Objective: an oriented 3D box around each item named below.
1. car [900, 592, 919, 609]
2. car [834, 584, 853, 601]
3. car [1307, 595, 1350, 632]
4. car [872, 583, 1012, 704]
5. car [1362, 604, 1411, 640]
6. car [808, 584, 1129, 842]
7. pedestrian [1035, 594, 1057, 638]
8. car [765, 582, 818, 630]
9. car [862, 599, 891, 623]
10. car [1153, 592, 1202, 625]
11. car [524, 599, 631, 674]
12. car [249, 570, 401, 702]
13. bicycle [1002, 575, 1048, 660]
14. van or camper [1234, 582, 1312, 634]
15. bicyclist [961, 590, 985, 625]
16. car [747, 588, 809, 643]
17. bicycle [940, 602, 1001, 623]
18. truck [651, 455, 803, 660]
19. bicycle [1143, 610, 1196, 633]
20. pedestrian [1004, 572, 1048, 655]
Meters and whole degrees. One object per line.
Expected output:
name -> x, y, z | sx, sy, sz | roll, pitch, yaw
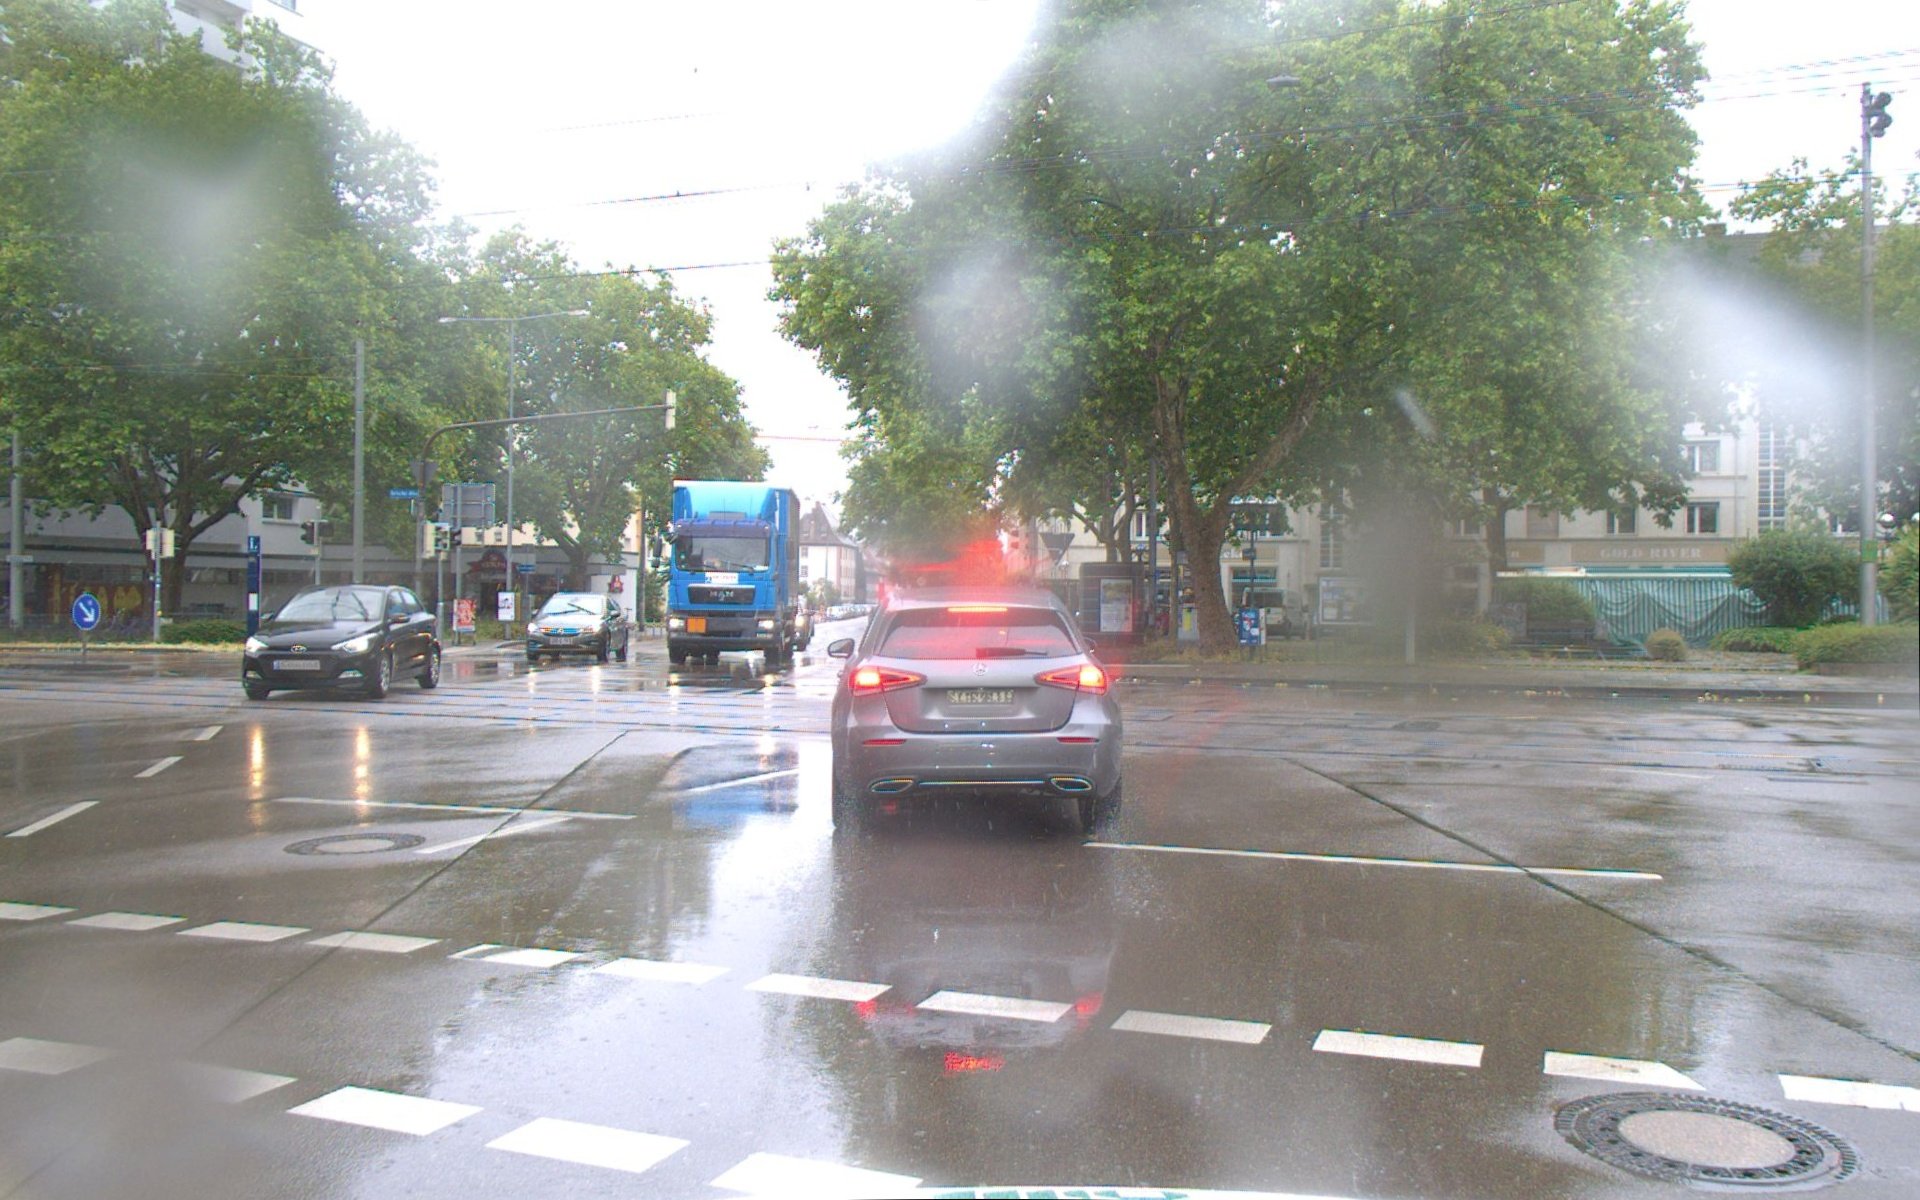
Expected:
car -> -5.597, 0.079, 184.339 | 2.004, 1.868, 4.791 | 0, 0, 0
car -> -13.459, -0.883, 191.384 | 1.851, 1.868, 4.000 | 0, 0, 0
car -> 16.378, 0.614, 73.403 | 1.644, 1.603, 3.738 | 0, -1, 16
car -> -0.317, 0.503, 21.418 | 1.575, 1.396, 3.997 | -1, 0, -4
car -> 18.928, 0.998, 73.381 | 1.645, 1.457, 3.735 | 0, -3, 22
car -> -0.062, 0.631, 10.954 | 1.756, 1.396, 3.504 | 2, 0, -4
pedestrian -> 3.370, 0.636, 64.620 | 0.704, 1.698, 0.663 | 0, -1, -13
car -> -6.584, 0.216, 64.818 | 1.712, 1.796, 3.999 | 0, 0, -1
car -> -5.910, 0.772, 116.616 | 1.954, 1.601, 3.996 | 0, 0, -5
car -> 9.950, 0.403, 75.636 | 1.549, 1.360, 3.262 | 0, -3, 20
car -> -8.522, 0.772, 37.187 | 1.692, 1.573, 4.336 | 0, 0, -4
car -> -8.395, 0.431, 21.890 | 1.719, 1.573, 3.754 | 0, 0, -21
bicycle -> 1.149, 0.279, 28.785 | 0.733, 1.401, 2.708 | -1, 0, 3
van or camper -> 14.162, 0.363, 74.543 | 2.348, 2.270, 5.427 | 0, 0, 24
bicyclist -> 0.712, 0.409, 89.895 | 0.925, 1.901, 1.135 | 0, -2, -22
car -> -5.607, 0.476, 51.397 | 1.708, 1.632, 3.997 | 0, 0, -3
bicycle -> 0.594, 0.679, 89.880 | 3.162, 1.131, 1.047 | 0, -2, -23
truck -> -5.176, -0.862, 38.426 | 2.790, 4.096, 10.307 | 0, 0, -4
bicycle -> 8.977, 0.906, 70.866 | 2.200, 0.985, 0.585 | 0, 0, 19
pedestrian -> 1.158, 0.228, 28.904 | 0.728, 1.422, 1.047 | -1, 0, 2
